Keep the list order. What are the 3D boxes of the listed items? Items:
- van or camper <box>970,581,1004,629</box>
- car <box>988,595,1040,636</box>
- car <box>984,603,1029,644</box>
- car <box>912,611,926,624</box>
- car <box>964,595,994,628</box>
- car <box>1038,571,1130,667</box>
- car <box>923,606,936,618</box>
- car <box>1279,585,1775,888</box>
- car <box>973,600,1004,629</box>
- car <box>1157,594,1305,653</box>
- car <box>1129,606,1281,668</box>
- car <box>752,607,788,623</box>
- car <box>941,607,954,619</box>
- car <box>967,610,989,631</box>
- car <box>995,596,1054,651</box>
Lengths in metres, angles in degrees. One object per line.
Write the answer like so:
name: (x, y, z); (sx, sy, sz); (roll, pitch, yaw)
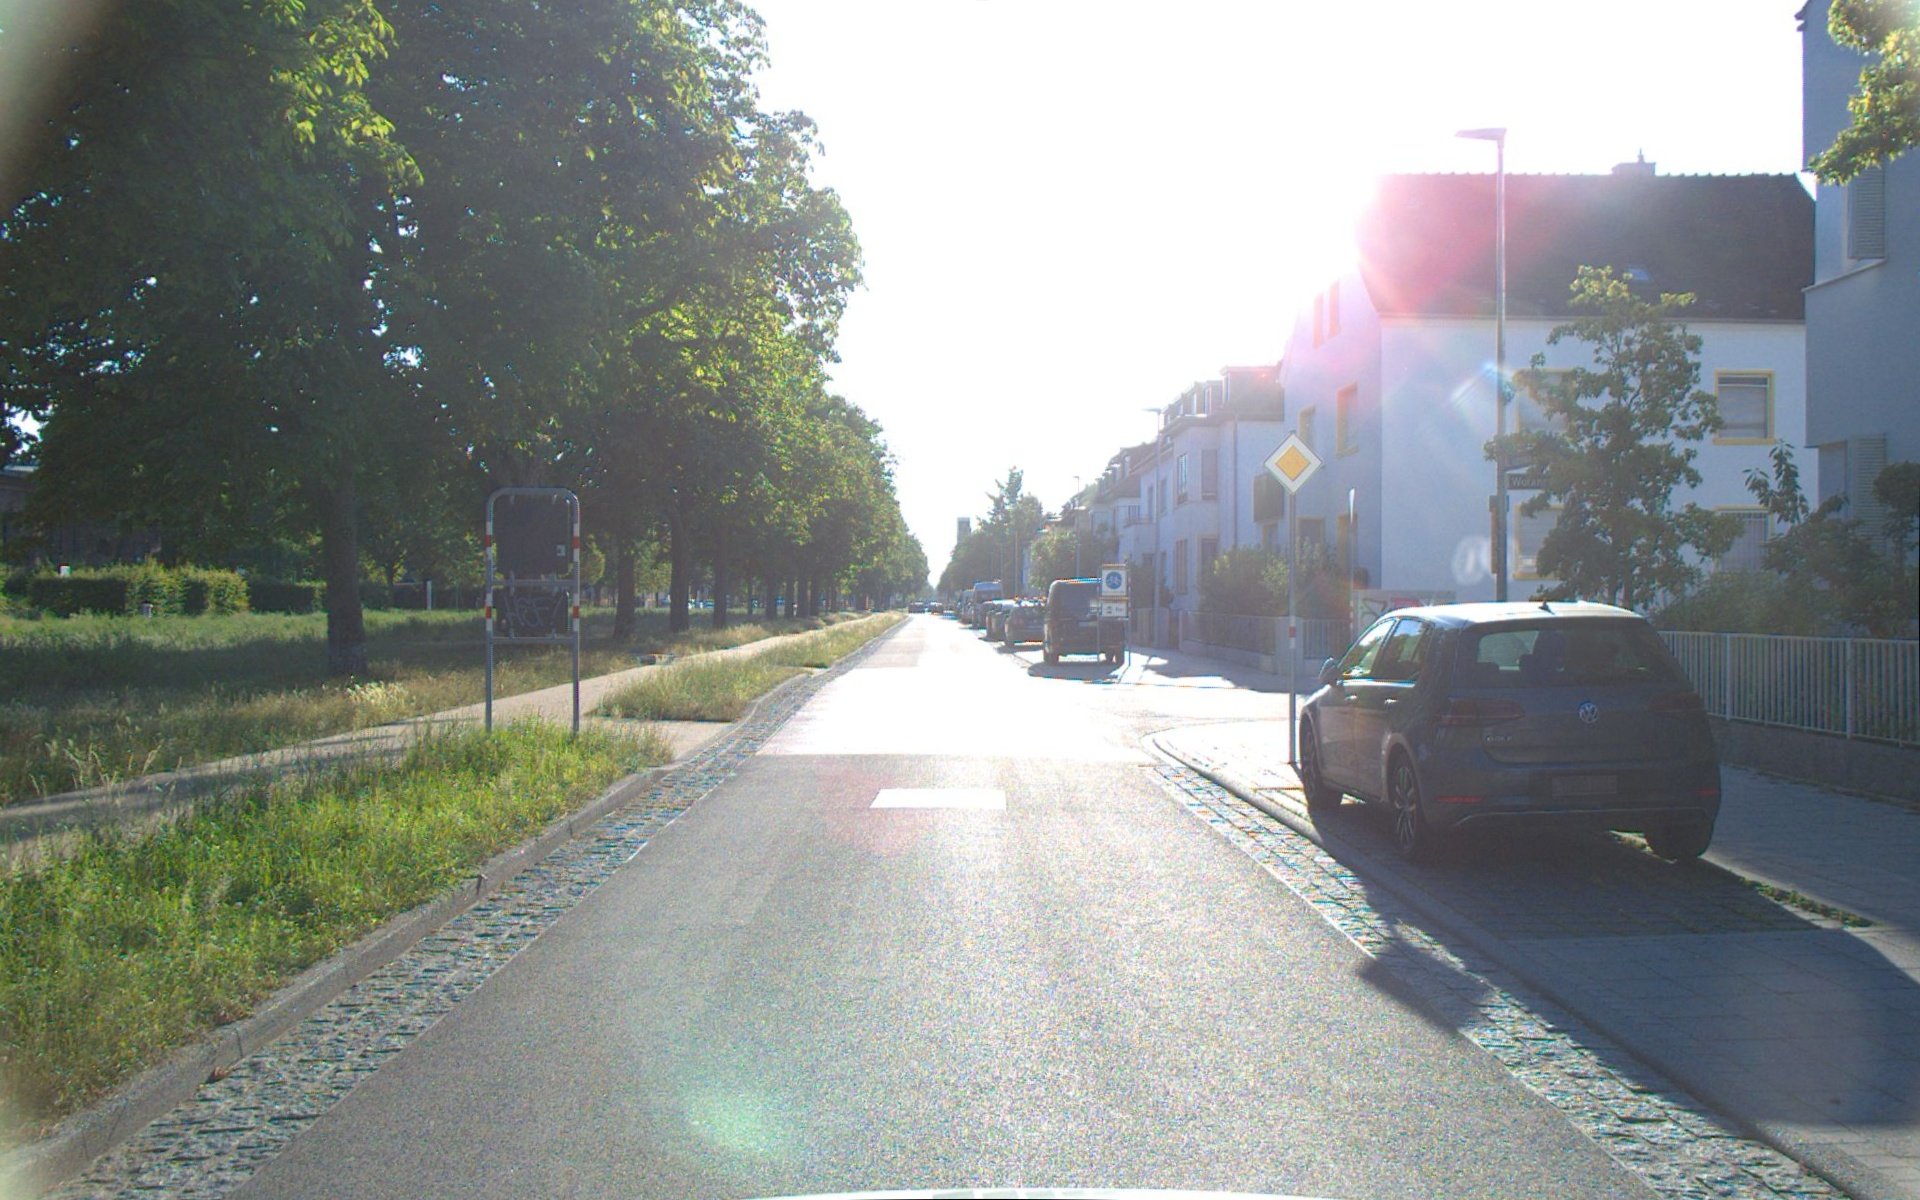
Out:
van or camper: (1.641, 0.354, 102.280); (1.904, 2.826, 5.938); (2, -1, -1)
car: (2.227, 0.646, 68.933); (1.684, 1.601, 4.206); (-2, -1, -4)
car: (2.093, 1.052, 74.809); (1.795, 1.714, 4.414); (2, 0, -1)
car: (-5.816, 2.480, 233.848); (1.825, 1.625, 3.868); (2, -1, -2)
car: (1.497, 0.904, 132.697); (2.084, 2.577, 5.185); (-1, 0, -3)
car: (2.984, 0.445, 40.693); (1.867, 2.169, 4.814); (-1, 0, 0)
car: (-4.375, 1.684, 238.080); (1.825, 1.625, 3.892); (1, 0, -2)
car: (3.363, 0.692, 10.701); (1.757, 1.508, 4.123); (-2, 1, 0)
car: (1.626, 0.856, 95.819); (1.630, 1.621, 4.085); (2, -1, -1)
car: (8.238, 0.722, 50.529); (4.134, 1.756, 1.851); (0, -1, -5)
car: (7.190, 1.081, 48.782); (4.134, 1.756, 1.851); (0, -1, -5)
car: (-23.496, 1.867, 204.660); (4.266, 1.795, 1.995); (2, -1, -10)
car: (-1.604, 1.714, 220.137); (1.616, 1.557, 3.850); (2, 0, 0)
car: (1.375, 1.552, 126.333); (1.616, 1.557, 3.851); (-1, 0, 0)
car: (2.196, 0.789, 57.166); (1.757, 1.802, 4.471); (-2, 0, -1)
